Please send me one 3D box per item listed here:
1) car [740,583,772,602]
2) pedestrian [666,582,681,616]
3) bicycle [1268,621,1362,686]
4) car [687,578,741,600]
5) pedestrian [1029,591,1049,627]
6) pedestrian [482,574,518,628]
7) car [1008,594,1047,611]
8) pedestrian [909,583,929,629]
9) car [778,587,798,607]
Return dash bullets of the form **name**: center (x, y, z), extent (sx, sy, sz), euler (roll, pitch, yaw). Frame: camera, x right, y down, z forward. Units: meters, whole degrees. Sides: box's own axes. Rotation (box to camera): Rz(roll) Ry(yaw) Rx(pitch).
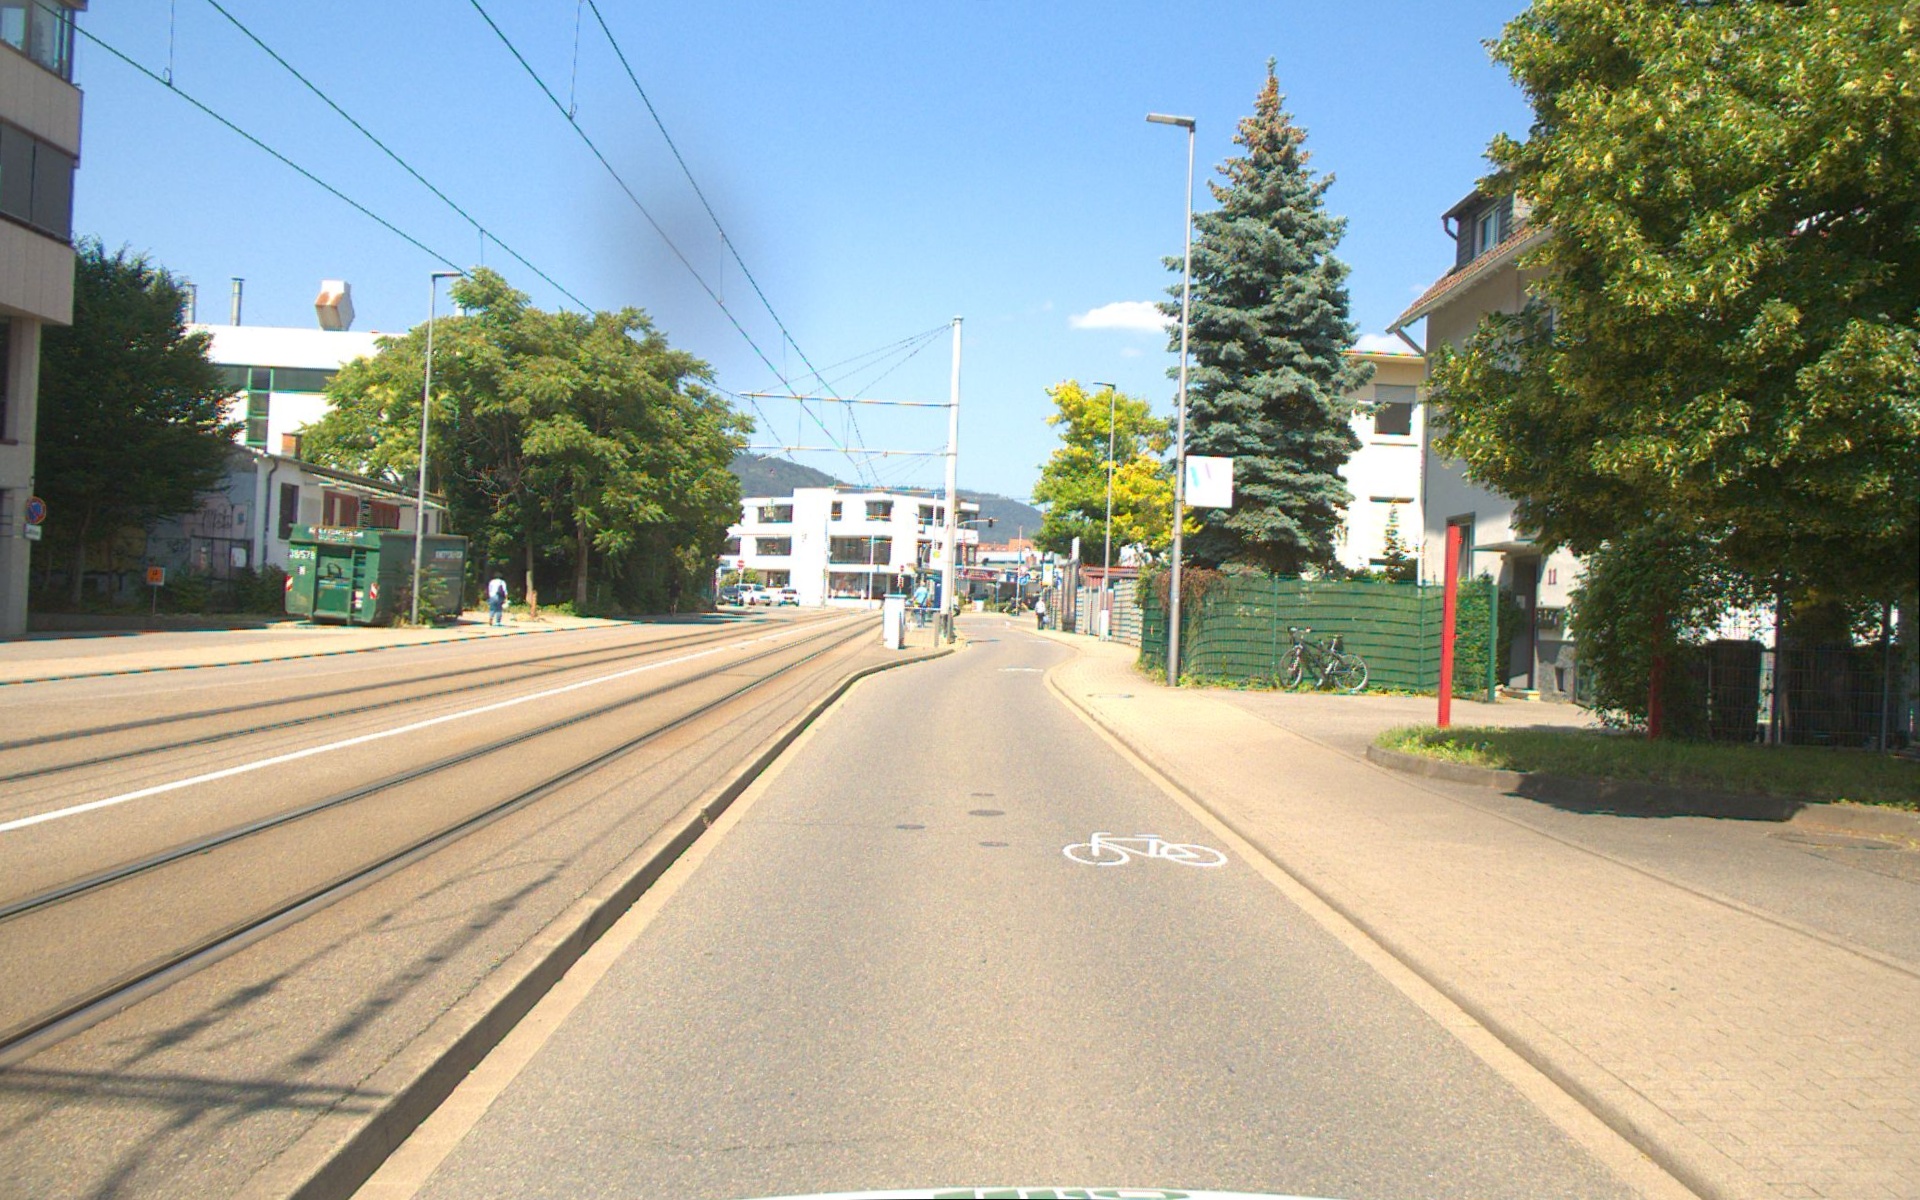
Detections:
- **car**: center (-19.428, -0.710, 157.315), extent (1.903, 1.676, 3.729), euler (1, 0, -27)
- **pedestrian**: center (-13.422, -0.047, 77.449), extent (0.572, 1.564, 0.657), euler (1, 0, -1)
- **bicycle**: center (5.850, 0.885, 27.275), extent (1.441, 1.008, 0.388), euler (2, -3, -2)
- **car**: center (-19.323, -0.863, 130.179), extent (3.904, 1.579, 1.792), euler (1, 0, 1)
- **pedestrian**: center (4.183, 0.486, 87.685), extent (0.921, 1.818, 0.953), euler (3, 1, -2)
- **pedestrian**: center (-13.556, 0.022, 48.758), extent (0.817, 1.564, 0.838), euler (1, 0, -1)
- **car**: center (7.028, 0.258, 171.900), extent (1.834, 1.691, 3.972), euler (2, 0, 44)
- **pedestrian**: center (-1.610, 0.214, 64.604), extent (0.728, 1.771, 0.727), euler (1, 0, -1)
- **car**: center (-15.213, -0.292, 146.222), extent (1.722, 1.676, 3.757), euler (1, 0, -6)
